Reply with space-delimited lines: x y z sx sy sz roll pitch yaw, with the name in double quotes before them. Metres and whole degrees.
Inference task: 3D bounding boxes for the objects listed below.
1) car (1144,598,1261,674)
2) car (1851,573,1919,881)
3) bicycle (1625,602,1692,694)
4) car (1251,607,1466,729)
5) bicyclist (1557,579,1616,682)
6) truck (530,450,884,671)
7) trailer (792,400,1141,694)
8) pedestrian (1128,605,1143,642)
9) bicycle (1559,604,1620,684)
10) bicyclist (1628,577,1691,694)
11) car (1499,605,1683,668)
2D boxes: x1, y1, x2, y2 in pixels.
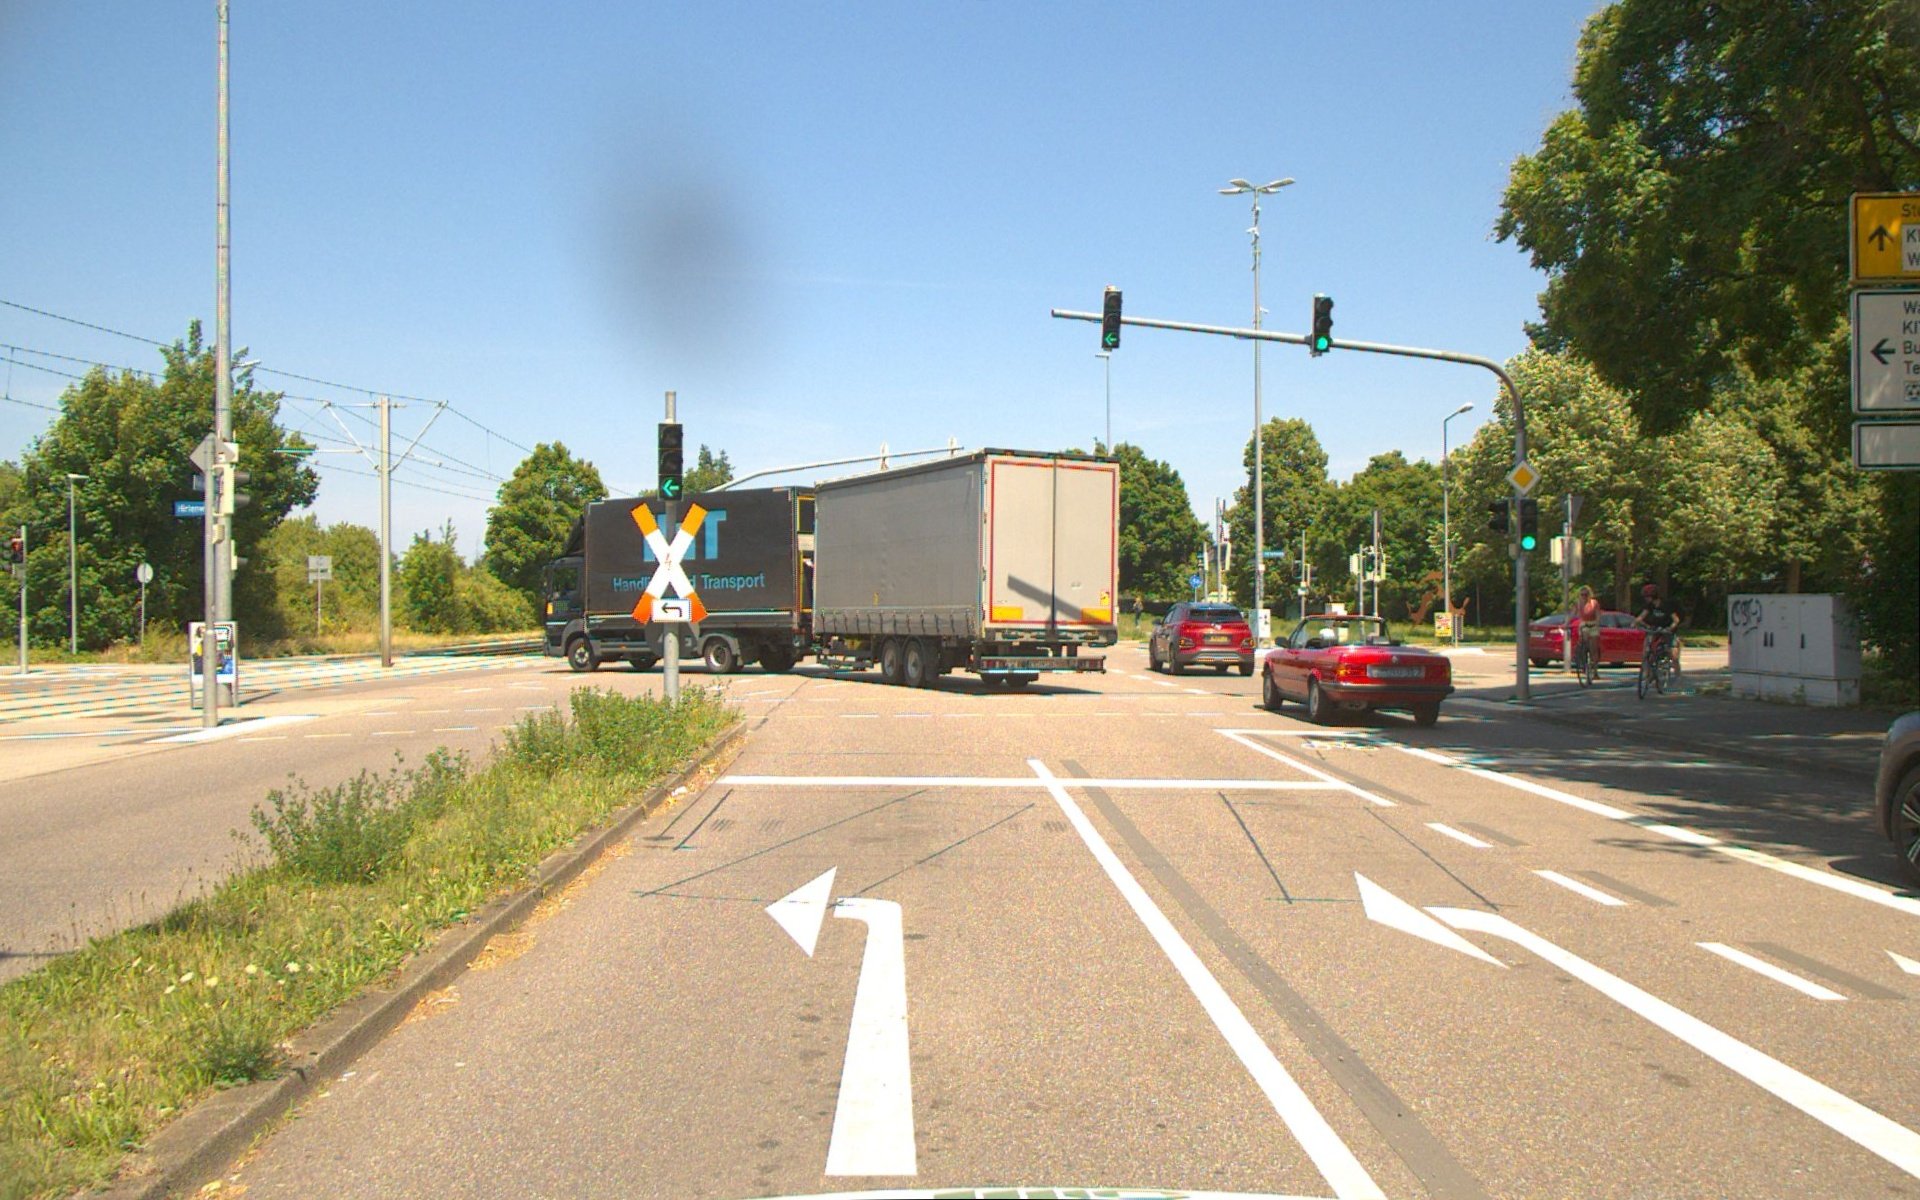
"car" 5.333 0.756 36.854 1.821 1.576 3.884 1 0 -3
"car" 6.176 0.713 7.545 1.665 1.683 4.396 1 0 -3
"bicycle" 10.622 0.717 25.123 0.711 1.318 1.301 -3 -1 31
"car" 5.186 0.830 22.075 1.622 1.421 4.264 1 0 -3
"bicyclist" 11.026 0.536 29.127 0.785 1.757 0.679 -3 -1 9
"truck" -5.712 -0.722 36.549 8.116 4.421 2.826 -1 -2 36
"trailer" -0.234 -0.824 29.849 2.792 4.499 8.678 1 0 -25
"pedestrian" 9.813 1.333 92.561 0.727 2.049 0.613 1 0 -1
"bicycle" 11.024 0.752 29.013 0.631 1.327 1.627 -3 -1 9
"bicyclist" 10.623 0.532 25.111 0.711 1.733 0.677 -3 -1 31
"car" 16.509 0.911 43.266 4.429 1.529 1.985 0 0 -24
